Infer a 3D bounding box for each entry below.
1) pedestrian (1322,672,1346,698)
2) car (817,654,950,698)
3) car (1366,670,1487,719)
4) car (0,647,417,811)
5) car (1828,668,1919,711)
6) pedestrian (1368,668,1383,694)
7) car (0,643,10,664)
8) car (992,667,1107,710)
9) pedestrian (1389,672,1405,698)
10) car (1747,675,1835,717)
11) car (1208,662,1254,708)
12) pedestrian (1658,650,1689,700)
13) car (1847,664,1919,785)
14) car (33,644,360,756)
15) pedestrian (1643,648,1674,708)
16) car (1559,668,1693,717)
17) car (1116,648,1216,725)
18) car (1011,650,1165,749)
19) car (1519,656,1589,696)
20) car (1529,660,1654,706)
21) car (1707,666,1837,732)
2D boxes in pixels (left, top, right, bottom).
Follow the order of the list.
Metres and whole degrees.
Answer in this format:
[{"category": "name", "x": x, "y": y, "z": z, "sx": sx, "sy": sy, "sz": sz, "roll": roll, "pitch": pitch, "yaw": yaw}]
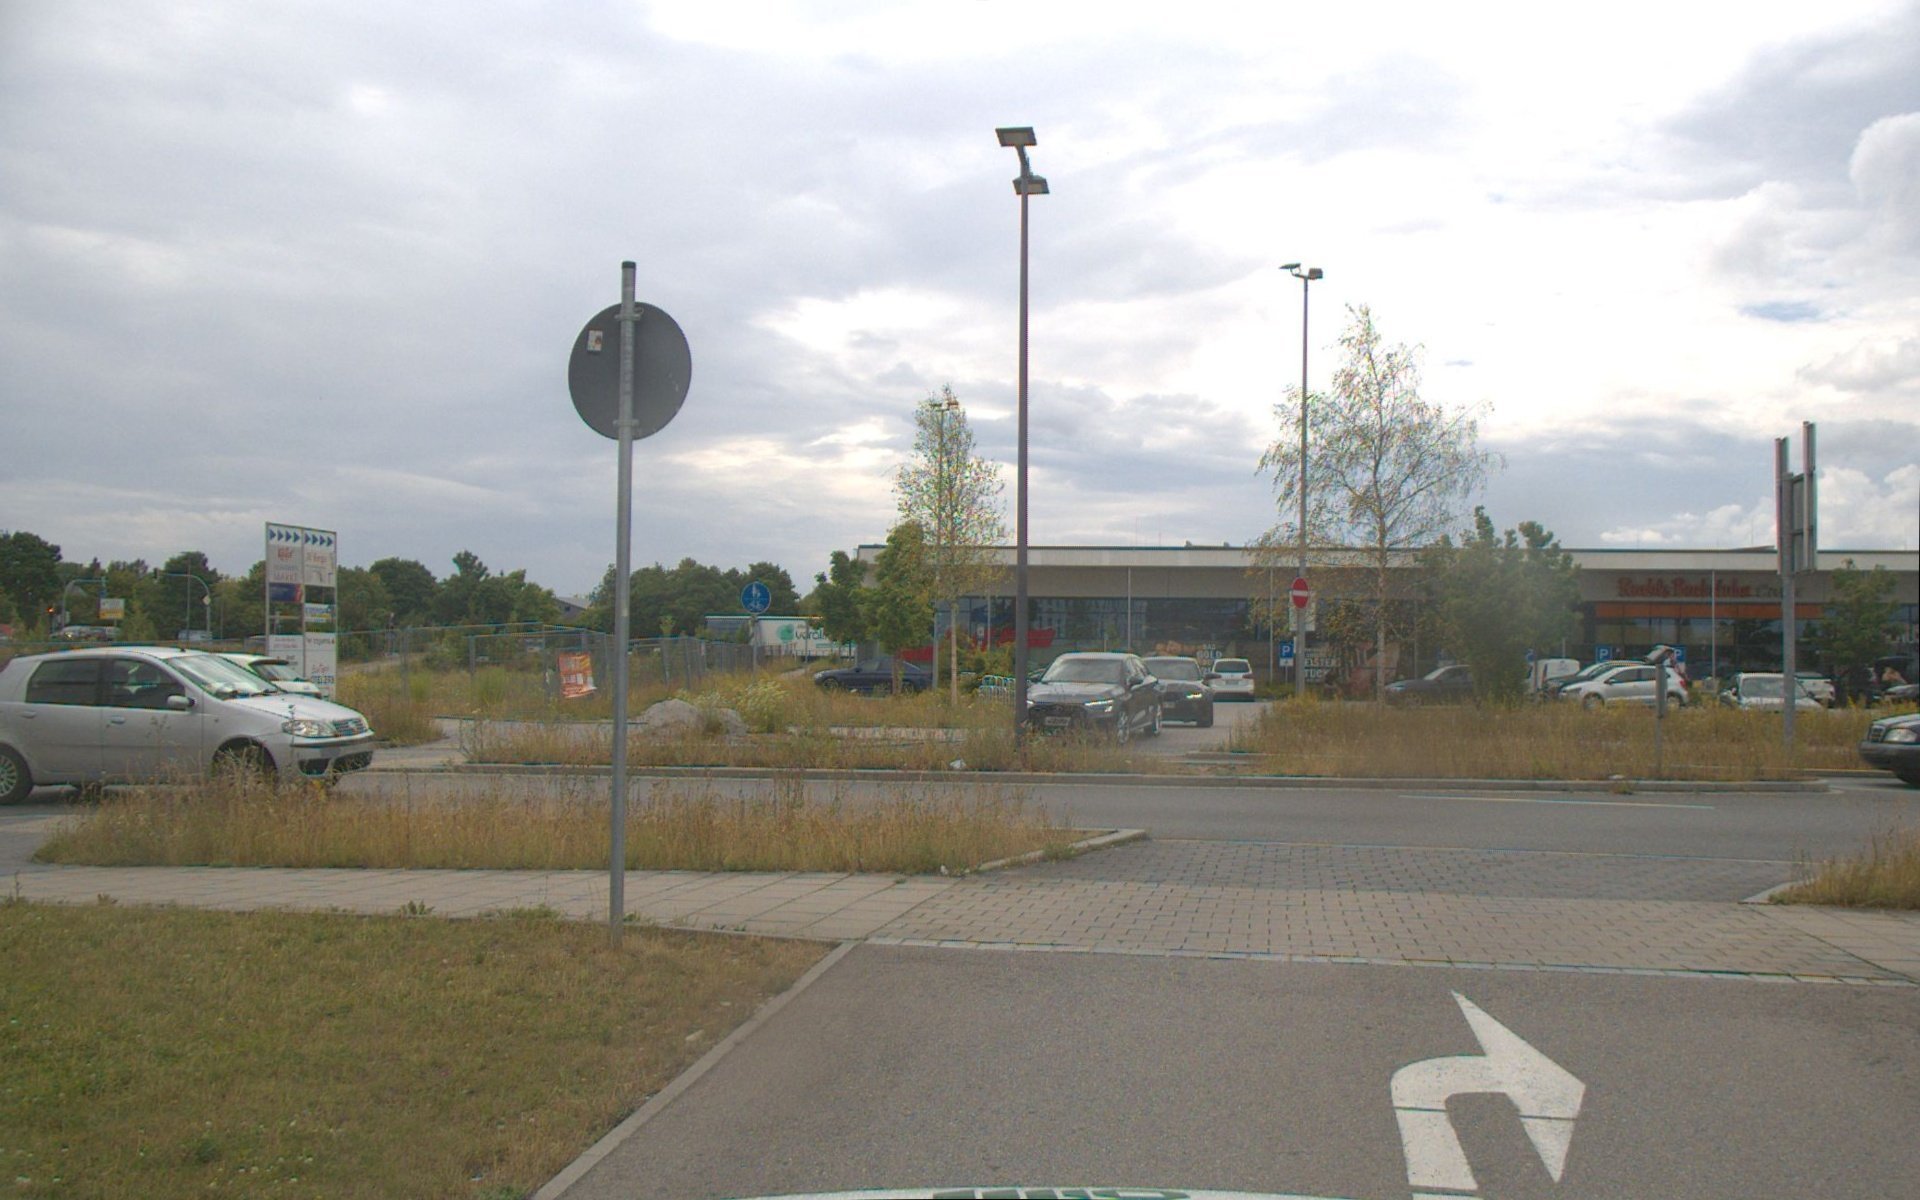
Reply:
[{"category": "pedestrian", "x": 17.201, "y": 3.919, "z": 75.996, "sx": 0.950, "sy": 1.175, "sz": 1.133, "roll": 0, "pitch": -2, "yaw": 6}, {"category": "car", "x": -2.926, "y": 2.947, "z": 64.013, "sx": 4.903, "sy": 1.585, "sz": 2.000, "roll": 1, "pitch": -3, "yaw": 3}, {"category": "car", "x": 15.037, "y": 3.046, "z": 53.457, "sx": 3.530, "sy": 1.480, "sz": 1.669, "roll": 0, "pitch": -2, "yaw": 6}, {"category": "car", "x": -7.554, "y": 1.222, "z": 16.346, "sx": 3.724, "sy": 1.486, "sz": 1.801, "roll": 0, "pitch": -2, "yaw": 3}, {"category": "car", "x": 35.217, "y": 3.376, "z": 62.406, "sx": 3.902, "sy": 1.534, "sz": 2.001, "roll": 0, "pitch": -2, "yaw": 9}, {"category": "pedestrian", "x": 18.867, "y": 3.685, "z": 75.149, "sx": 0.564, "sy": 1.144, "sz": 0.562, "roll": 0, "pitch": -2, "yaw": 4}, {"category": "car", "x": -69.497, "y": 3.805, "z": 117.738, "sx": 1.641, "sy": 1.512, "sz": 3.641, "roll": 1, "pitch": -2, "yaw": 0}, {"category": "car", "x": 3.159, "y": 3.076, "z": 57.592, "sx": 3.903, "sy": 1.376, "sz": 2.001, "roll": 1, "pitch": -3, "yaw": 5}, {"category": "pedestrian", "x": 19.586, "y": 3.815, "z": 74.116, "sx": 0.564, "sy": 1.144, "sz": 0.562, "roll": 0, "pitch": -2, "yaw": 4}, {"category": "car", "x": 32.487, "y": 3.740, "z": 64.775, "sx": 1.951, "sy": 1.534, "sz": 4.003, "roll": 0, "pitch": -2, "yaw": 10}, {"category": "car", "x": 11.074, "y": 3.418, "z": 67.420, "sx": 1.785, "sy": 1.730, "sz": 4.237, "roll": 0, "pitch": -1, "yaw": 10}, {"category": "pedestrian", "x": 24.104, "y": 2.541, "z": 55.862, "sx": 0.804, "sy": 1.660, "sz": 0.900, "roll": 0, "pitch": -3, "yaw": 13}, {"category": "car", "x": 13.306, "y": 1.518, "z": 19.938, "sx": 4.264, "sy": 1.420, "sz": 1.792, "roll": 0, "pitch": -3, "yaw": 14}, {"category": "car", "x": -11.146, "y": 1.450, "z": 24.298, "sx": 3.957, "sy": 1.507, "sz": 1.759, "roll": 1, "pitch": -3, "yaw": 6}, {"category": "pedestrian", "x": 24.410, "y": 2.720, "z": 57.812, "sx": 0.846, "sy": 2.049, "sz": 1.004, "roll": 0, "pitch": -2, "yaw": 12}, {"category": "car", "x": 21.224, "y": 2.933, "z": 52.826, "sx": 3.667, "sy": 1.480, "sz": 1.669, "roll": 0, "pitch": -2, "yaw": 7}, {"category": "car", "x": 4.349, "y": 1.778, "z": 34.358, "sx": 1.741, "sy": 1.471, "sz": 4.613, "roll": 0, "pitch": -3, "yaw": 11}, {"category": "car", "x": 2.213, "y": 1.594, "z": 27.479, "sx": 1.754, "sy": 1.492, "sz": 4.323, "roll": 0, "pitch": -2, "yaw": 15}, {"category": "car", "x": 23.701, "y": 3.012, "z": 66.074, "sx": 1.951, "sy": 1.534, "sz": 4.003, "roll": 0, "pitch": -2, "yaw": 10}, {"category": "car", "x": 21.378, "y": 2.805, "z": 56.063, "sx": 3.667, "sy": 1.480, "sz": 1.669, "roll": 0, "pitch": -2, "yaw": 7}, {"category": "car", "x": 18.867, "y": 2.284, "z": 38.609, "sx": 1.946, "sy": 1.409, "sz": 4.152, "roll": 0, "pitch": -3, "yaw": 15}]
